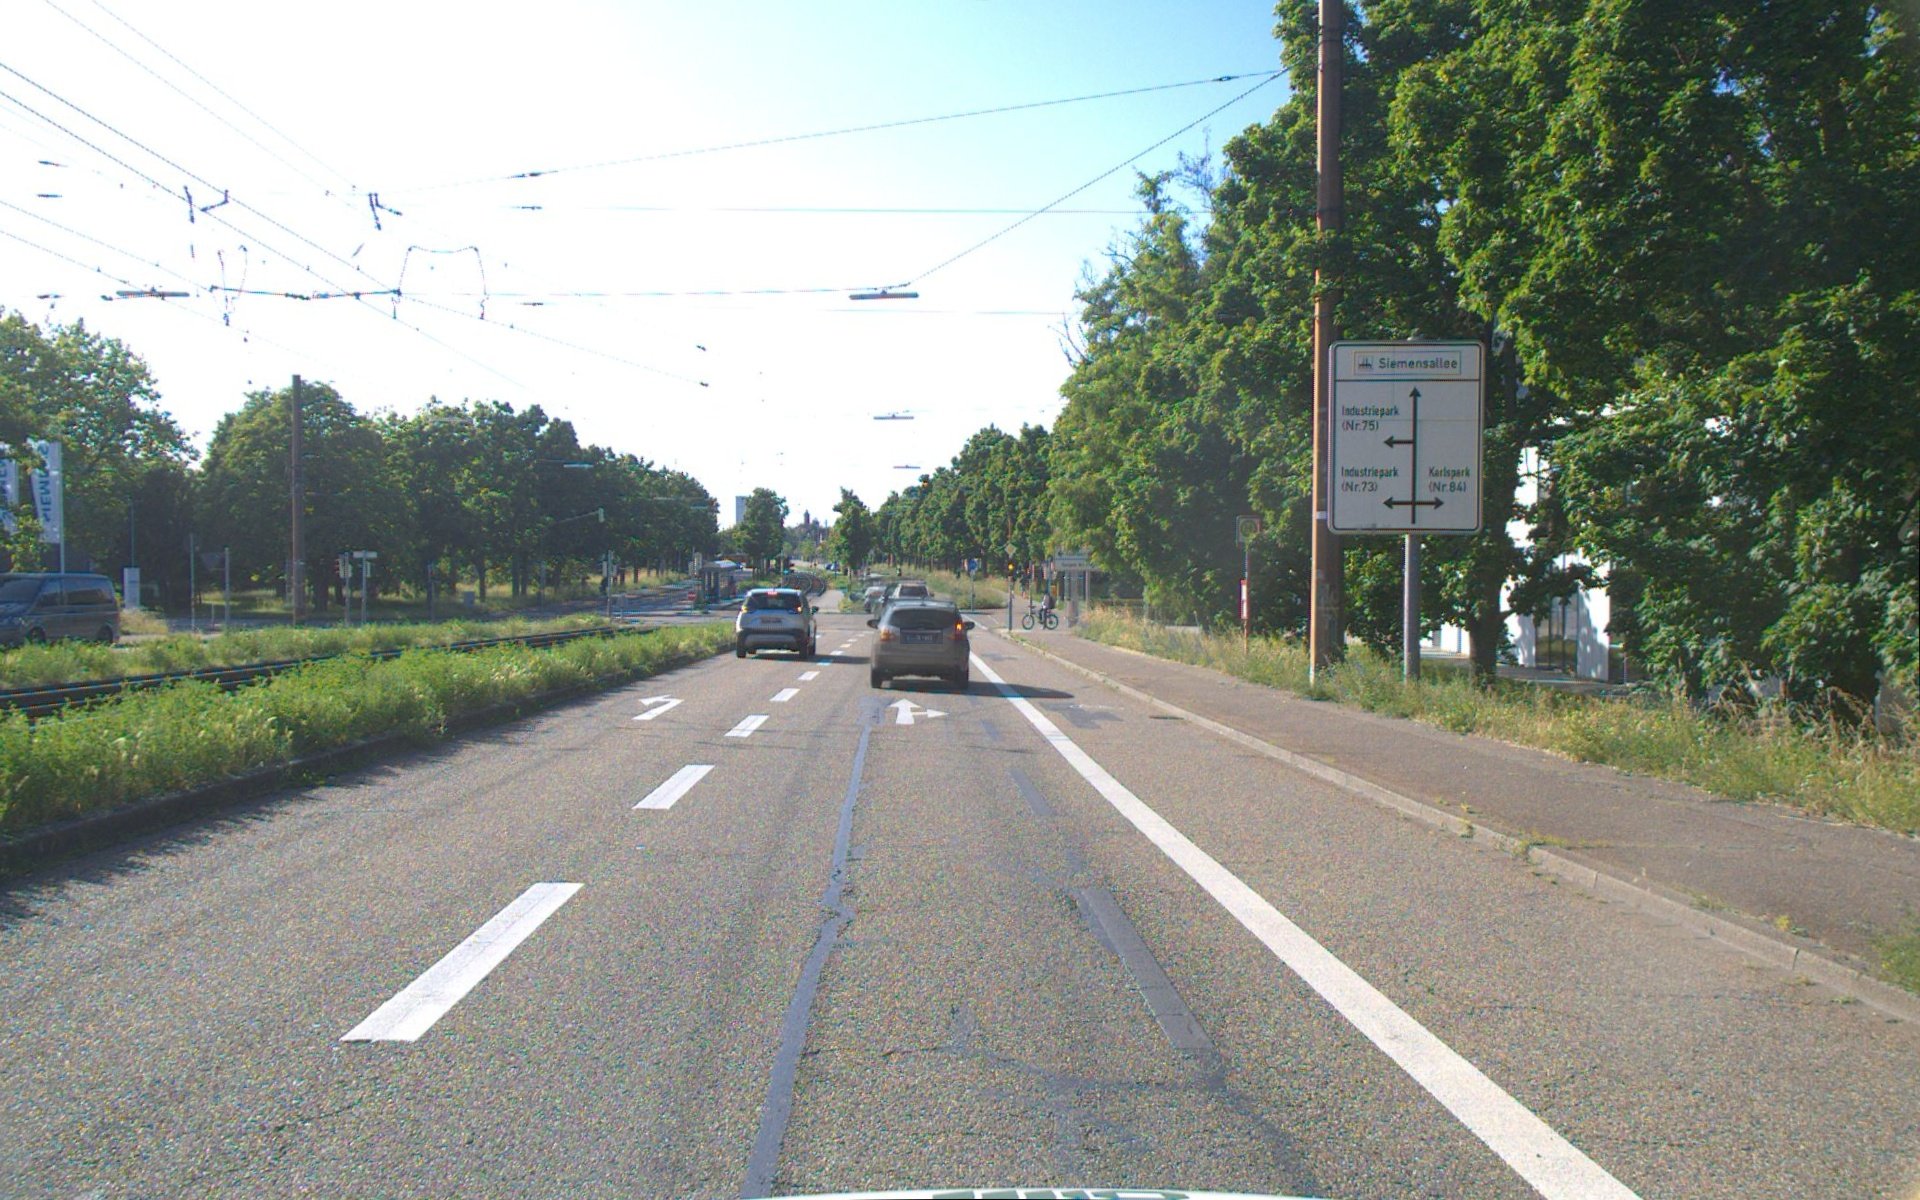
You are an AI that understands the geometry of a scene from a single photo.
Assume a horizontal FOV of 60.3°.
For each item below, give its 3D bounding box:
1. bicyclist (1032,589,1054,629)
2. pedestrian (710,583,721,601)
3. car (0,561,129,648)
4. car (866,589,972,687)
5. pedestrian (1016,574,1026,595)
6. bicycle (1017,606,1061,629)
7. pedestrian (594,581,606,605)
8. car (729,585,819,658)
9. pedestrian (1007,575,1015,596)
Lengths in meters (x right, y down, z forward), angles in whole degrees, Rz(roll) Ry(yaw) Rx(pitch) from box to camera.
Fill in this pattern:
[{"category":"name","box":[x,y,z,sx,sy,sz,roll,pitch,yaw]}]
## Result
[{"category":"bicyclist","box":[3.729,0.399,74.123,0.890,1.775,0.765,-1,-1,9]},{"category":"pedestrian","box":[-17.683,-0.576,119.782,0.706,1.267,0.710,0,0,-4]},{"category":"car","box":[-21.851,0.067,38.886,2.152,1.924,4.791,1,0,0]},{"category":"car","box":[-0.697,0.612,28.681,1.672,1.535,3.999,2,0,-1]},{"category":"pedestrian","box":[4.747,-1.224,128.866,0.665,1.638,0.720,2,0,-4]},{"category":"bicycle","box":[3.528,0.777,74.155,1.879,1.015,0.765,-1,-1,9]},{"category":"pedestrian","box":[-30.667,-0.615,140.957,0.823,2.049,0.862,1,0,-3]},{"category":"car","box":[-4.419,0.475,39.854,1.813,1.634,4.253,1,0,-2]},{"category":"pedestrian","box":[3.981,-1.141,128.910,0.556,1.624,0.665,2,0,-5]}]
